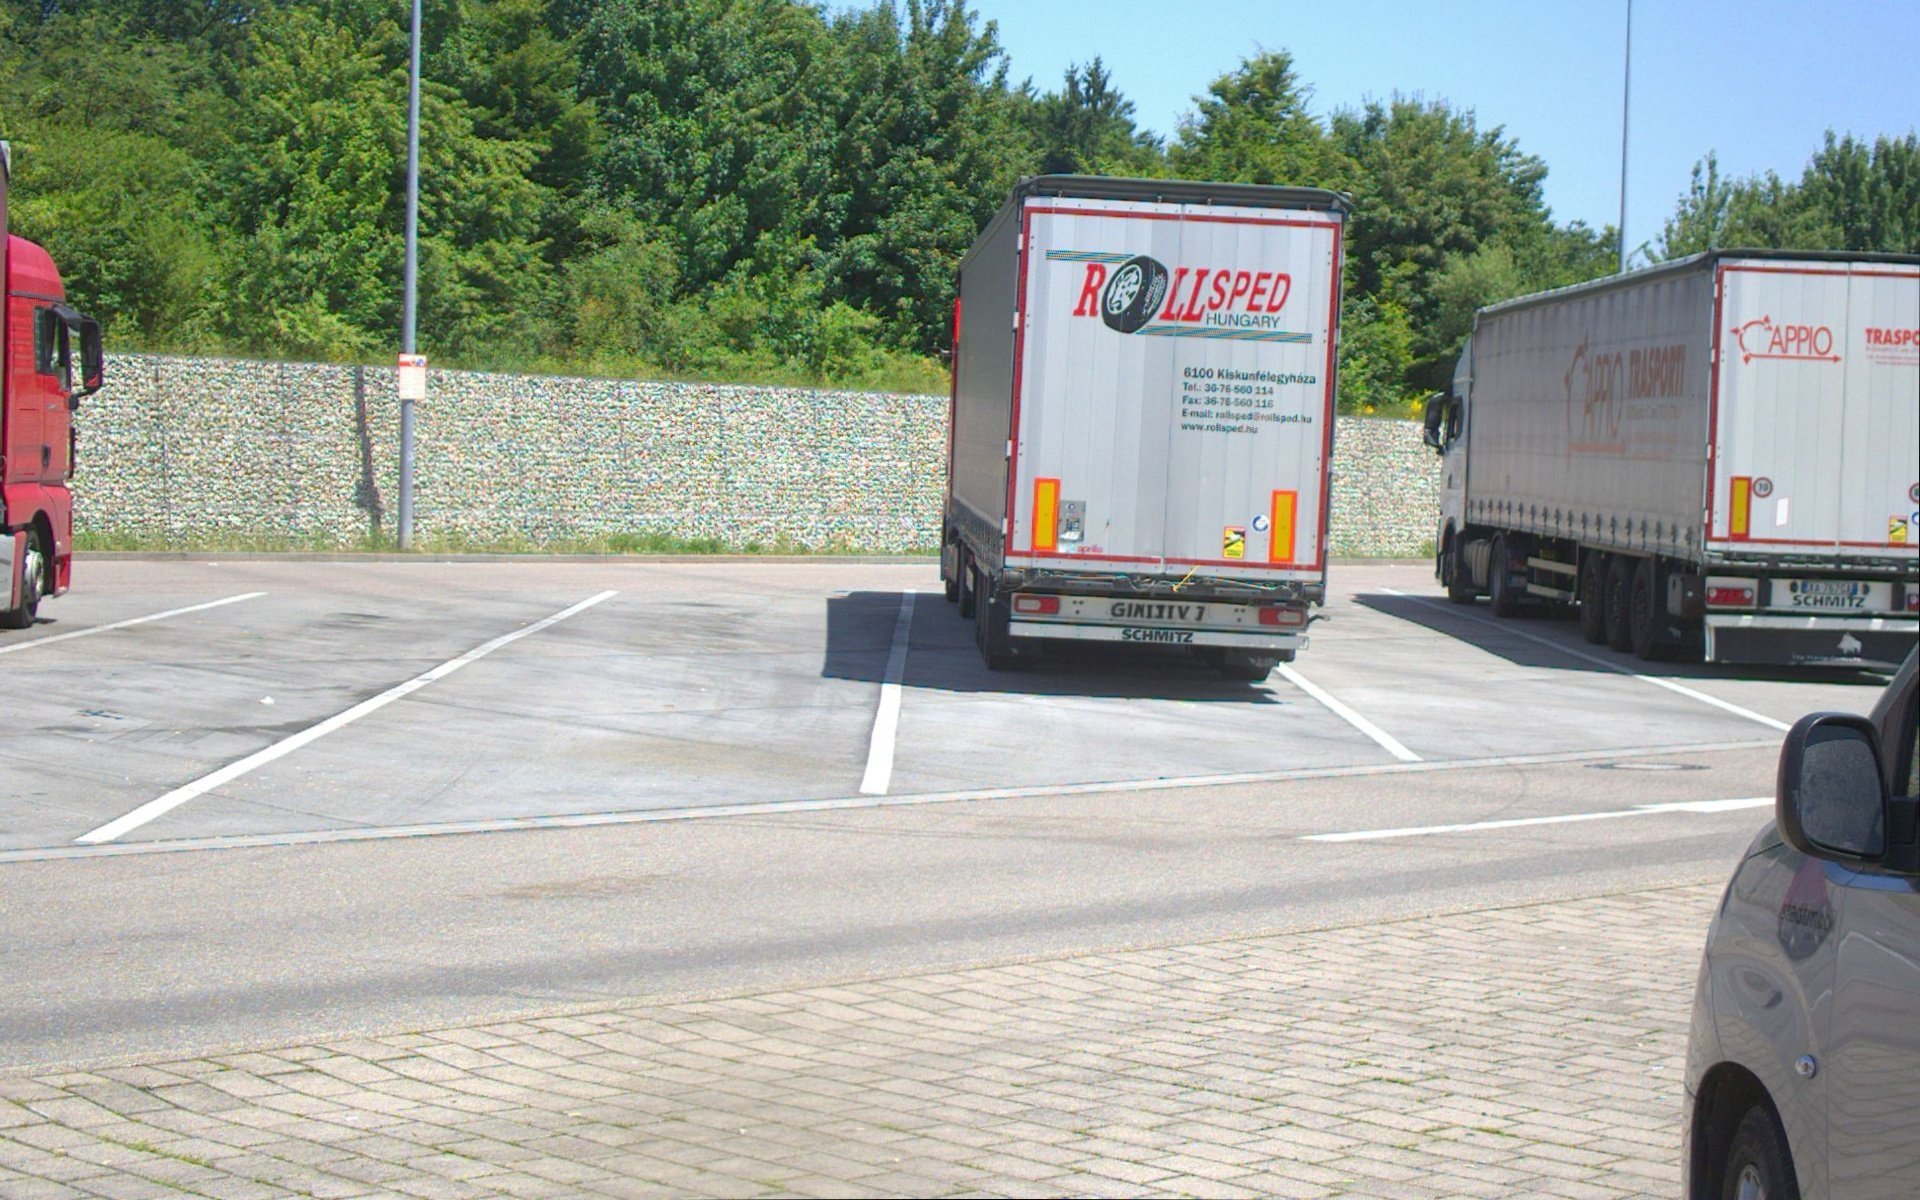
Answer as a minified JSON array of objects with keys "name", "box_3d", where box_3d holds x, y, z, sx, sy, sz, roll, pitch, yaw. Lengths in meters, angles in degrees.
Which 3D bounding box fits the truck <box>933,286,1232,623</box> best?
[{"name":"truck","box_3d":[1.312,-1.744,40.517,3.103,3.554,5.900,2,3,-1]}]

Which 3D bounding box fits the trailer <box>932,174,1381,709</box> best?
[{"name":"trailer","box_3d":[1.450,-1.601,33.625,3.133,3.976,14.397,2,3,-1]}]

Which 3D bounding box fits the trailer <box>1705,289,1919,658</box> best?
[{"name":"trailer","box_3d":[11.756,-1.463,39.791,2.811,3.976,14.396,2,3,-1]}]

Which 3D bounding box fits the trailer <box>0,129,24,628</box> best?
[{"name":"trailer","box_3d":[-9.190,-1.496,21.574,2.791,4.071,14.133,2,3,-1]}]

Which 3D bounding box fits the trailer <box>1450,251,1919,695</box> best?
[{"name":"trailer","box_3d":[8.115,-1.531,38.739,2.811,3.976,14.396,2,3,-1]}]

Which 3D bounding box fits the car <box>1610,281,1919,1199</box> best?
[{"name":"car","box_3d":[2.156,0.581,3.857,1.869,1.857,4.177,2,2,-2]}]

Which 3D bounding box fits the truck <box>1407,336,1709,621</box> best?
[{"name":"truck","box_3d":[8.021,-1.708,46.839,2.862,3.509,5.900,2,3,-1]}]

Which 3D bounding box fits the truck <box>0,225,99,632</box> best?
[{"name":"truck","box_3d":[-9.235,-1.453,28.148,2.851,3.316,5.900,2,3,-1]}]
